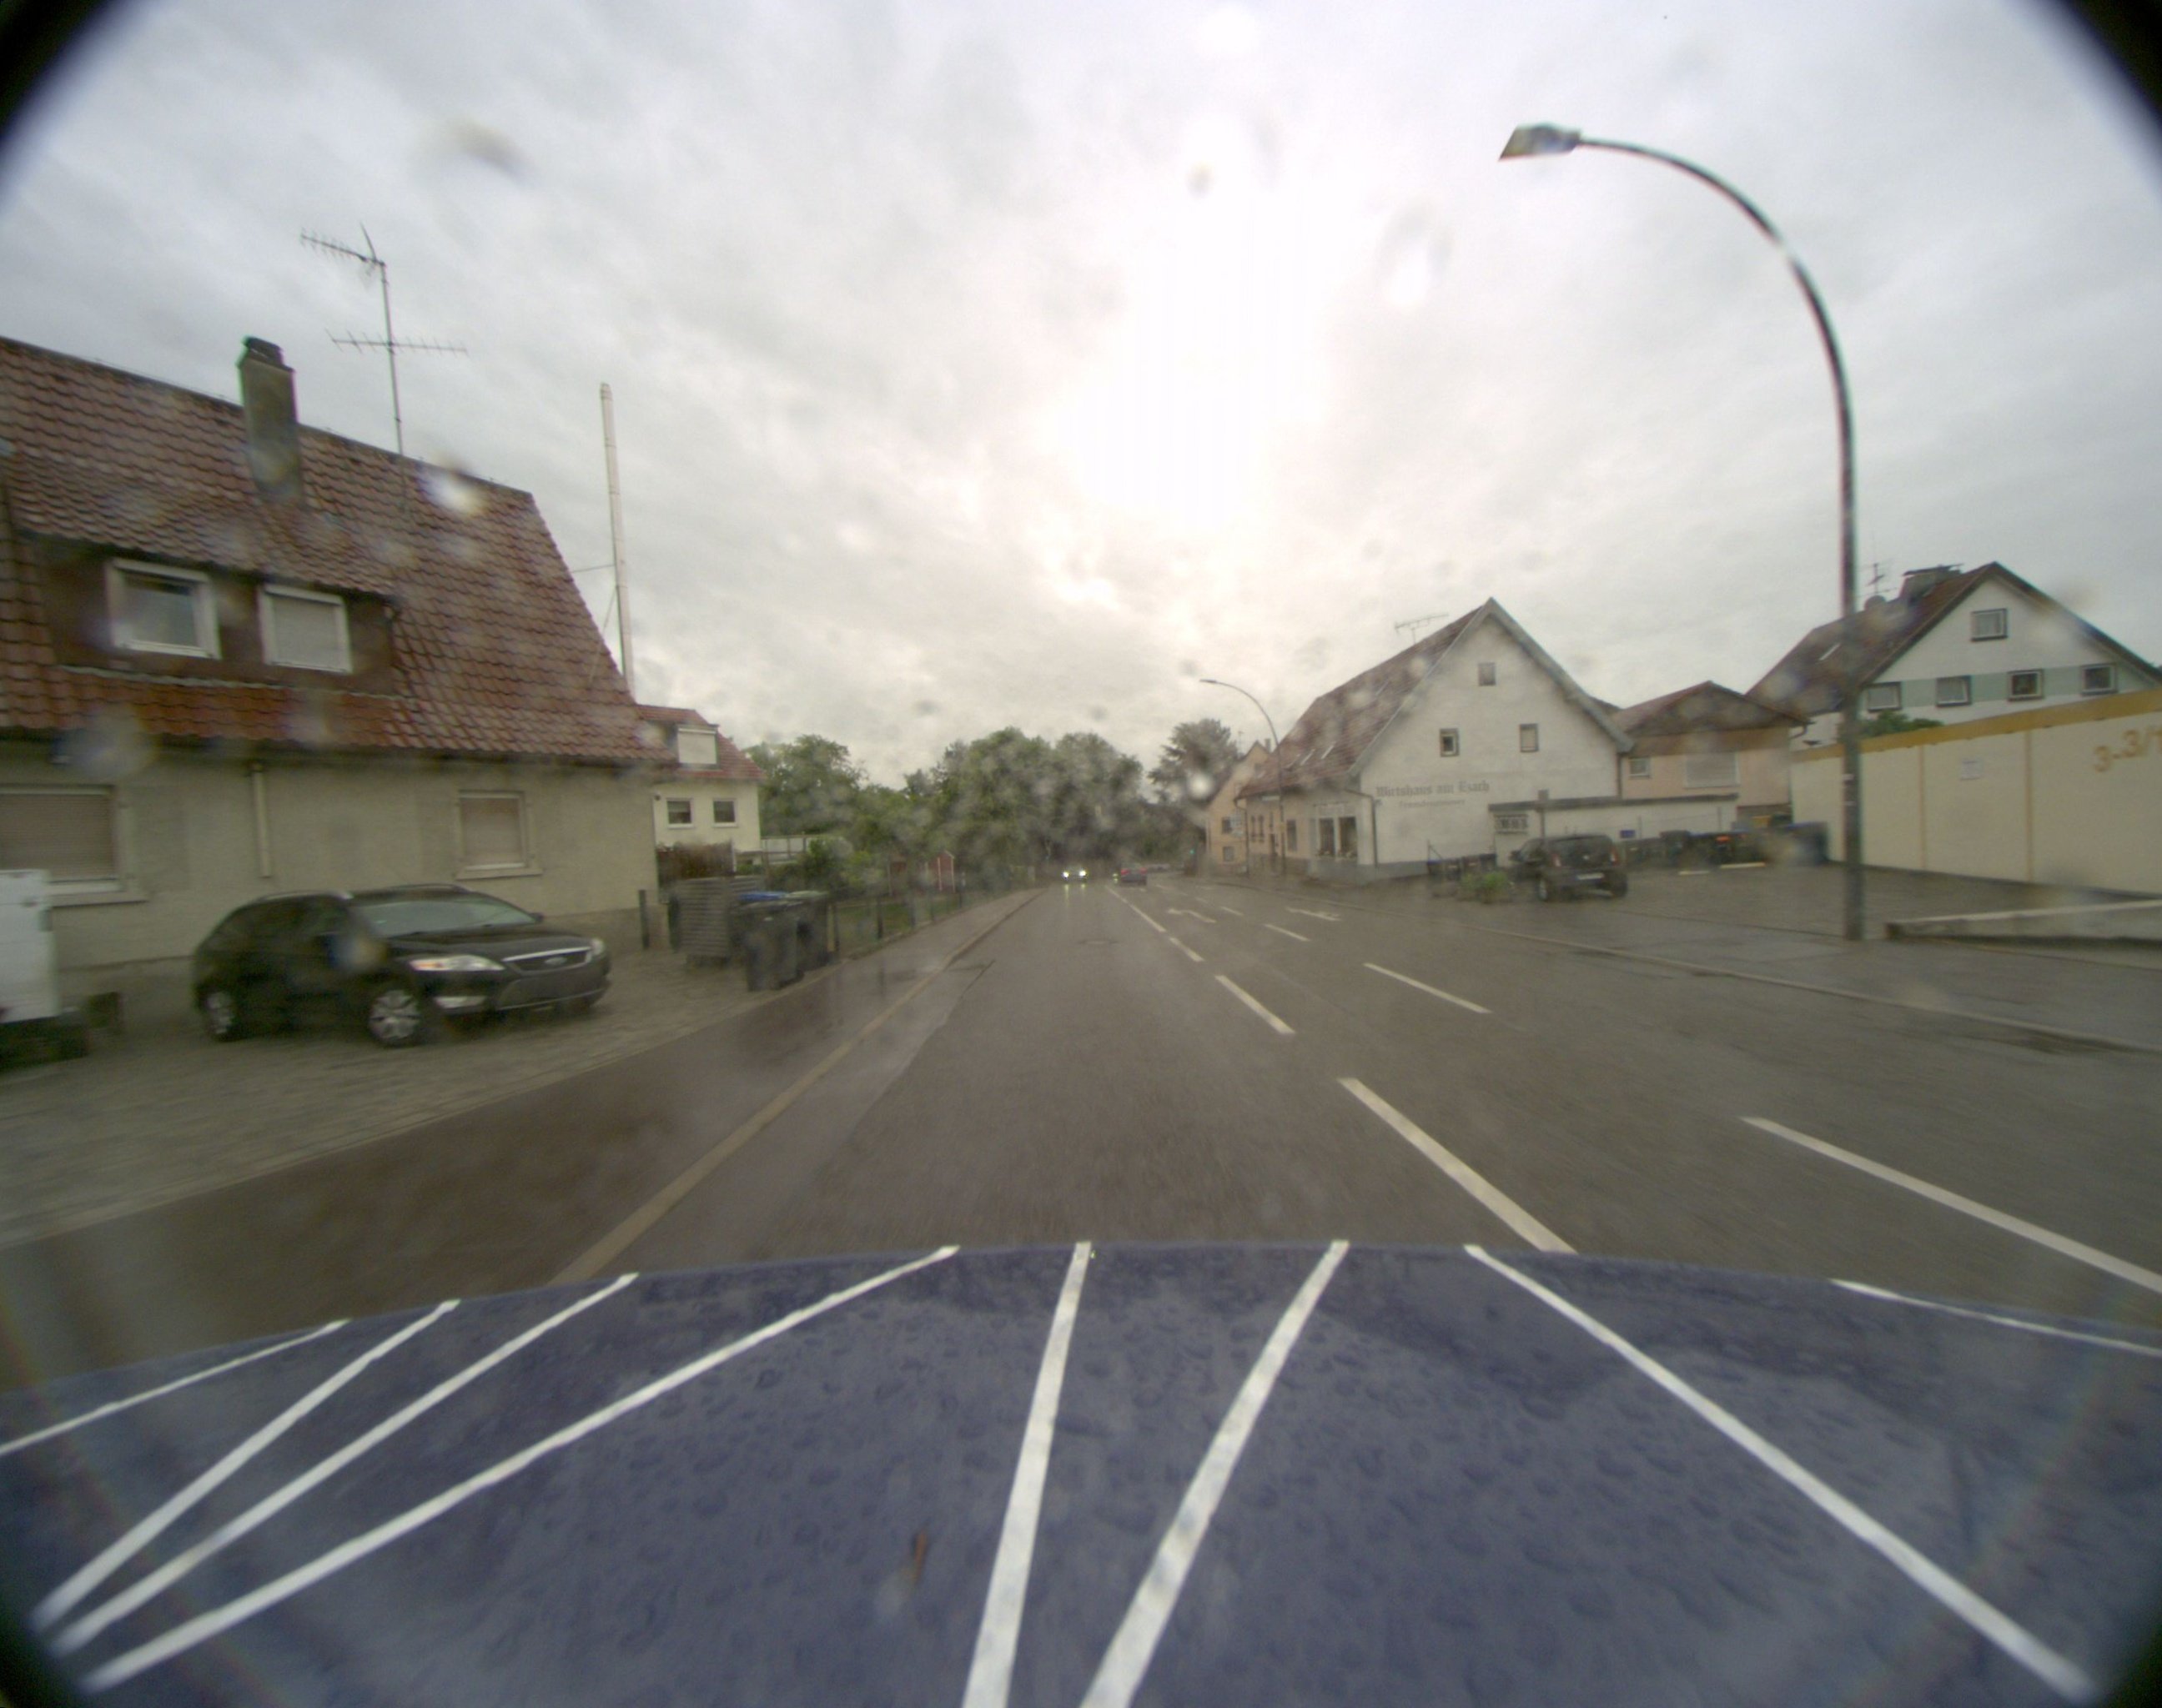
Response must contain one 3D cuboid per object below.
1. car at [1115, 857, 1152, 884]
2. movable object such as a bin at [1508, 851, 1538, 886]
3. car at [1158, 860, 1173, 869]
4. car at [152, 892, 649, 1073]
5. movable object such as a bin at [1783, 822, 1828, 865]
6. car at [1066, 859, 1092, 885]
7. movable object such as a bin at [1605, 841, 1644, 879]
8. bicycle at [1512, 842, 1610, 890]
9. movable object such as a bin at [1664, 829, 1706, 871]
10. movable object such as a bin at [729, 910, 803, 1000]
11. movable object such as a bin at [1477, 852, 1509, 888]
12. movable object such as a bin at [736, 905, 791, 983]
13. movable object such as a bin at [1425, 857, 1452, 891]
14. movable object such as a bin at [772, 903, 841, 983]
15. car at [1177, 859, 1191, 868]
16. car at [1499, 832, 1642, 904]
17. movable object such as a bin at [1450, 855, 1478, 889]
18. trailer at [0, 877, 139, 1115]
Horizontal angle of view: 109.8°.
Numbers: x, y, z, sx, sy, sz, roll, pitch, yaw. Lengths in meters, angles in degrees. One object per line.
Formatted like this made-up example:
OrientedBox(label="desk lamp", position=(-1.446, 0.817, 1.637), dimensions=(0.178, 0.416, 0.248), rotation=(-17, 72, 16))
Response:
OrientedBox(label="car", position=(3.239, 0.999, 47.491), dimensions=(1.949, 1.564, 4.226), rotation=(-2, -1, -1))
OrientedBox(label="movable object such as a bin", position=(13.351, 0.430, 22.971), dimensions=(0.639, 1.026, 0.605), rotation=(-1, 0, 14))
OrientedBox(label="car", position=(14.608, 1.801, 131.601), dimensions=(1.761, 1.410, 4.159), rotation=(-1, 0, 19))
OrientedBox(label="car", position=(-7.153, 1.251, 8.030), dimensions=(4.562, 1.375, 2.003), rotation=(-4, 0, 21))
OrientedBox(label="movable object such as a bin", position=(18.768, -0.262, 19.692), dimensions=(0.670, 1.072, 0.625), rotation=(-1, 0, 23))
OrientedBox(label="car", position=(-0.131, 1.470, 64.057), dimensions=(1.998, 2.002, 4.000), rotation=(-2, 0, 2))
OrientedBox(label="movable object such as a bin", position=(15.874, 0.164, 22.193), dimensions=(0.639, 1.026, 0.605), rotation=(-8, -1, 14))
OrientedBox(label="bicycle", position=(13.238, 0.341, 21.004), dimensions=(2.101, 1.107, 0.738), rotation=(-6, 1, 17))
OrientedBox(label="movable object such as a bin", position=(17.127, -0.110, 21.561), dimensions=(0.639, 1.123, 0.605), rotation=(-7, -1, 14))
OrientedBox(label="movable object such as a bin", position=(-3.806, 1.213, 9.200), dimensions=(0.628, 1.015, 0.541), rotation=(-1, 0, 5))
OrientedBox(label="movable object such as a bin", position=(12.564, 0.494, 23.170), dimensions=(0.639, 1.026, 0.605), rotation=(-6, -1, 14))
OrientedBox(label="movable object such as a bin", position=(-4.413, 1.232, 10.574), dimensions=(0.443, 1.015, 0.525), rotation=(-1, 0, 19))
OrientedBox(label="movable object such as a bin", position=(11.118, 0.620, 23.657), dimensions=(0.639, 1.026, 0.674), rotation=(-1, 0, 14))
OrientedBox(label="movable object such as a bin", position=(-3.789, 1.216, 10.532), dimensions=(0.530, 1.015, 0.734), rotation=(-1, 0, 19))
OrientedBox(label="car", position=(19.659, 1.757, 144.507), dimensions=(1.831, 1.620, 4.160), rotation=(-1, 0, 20))
OrientedBox(label="car", position=(11.453, 0.302, 18.097), dimensions=(1.904, 1.433, 3.833), rotation=(-4, -1, 19))
OrientedBox(label="movable object such as a bin", position=(11.795, 0.548, 23.419), dimensions=(0.639, 1.026, 0.605), rotation=(-1, 0, 14))
OrientedBox(label="trailer", position=(-9.988, 1.207, 6.525), dimensions=(3.454, 1.788, 1.690), rotation=(-3, 1, 28))
